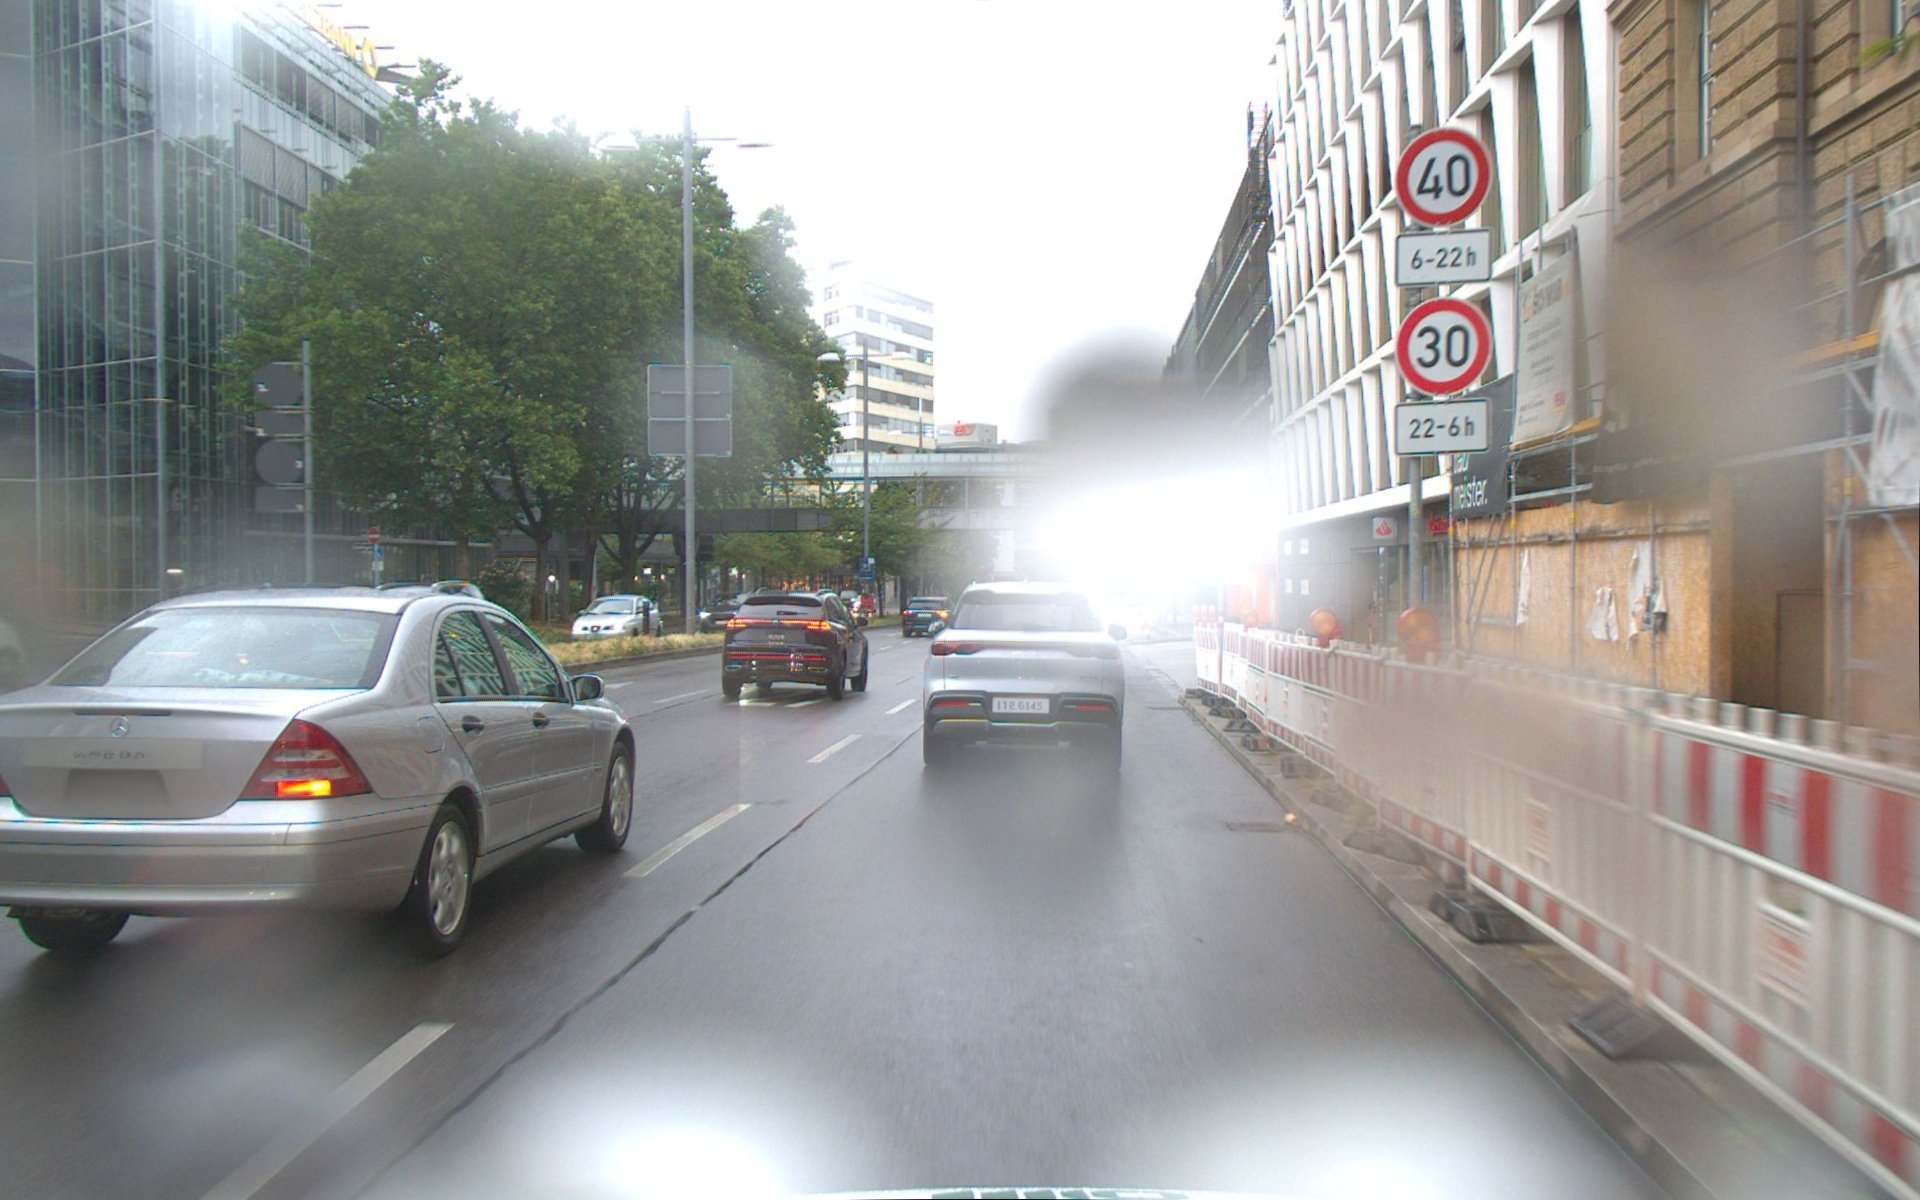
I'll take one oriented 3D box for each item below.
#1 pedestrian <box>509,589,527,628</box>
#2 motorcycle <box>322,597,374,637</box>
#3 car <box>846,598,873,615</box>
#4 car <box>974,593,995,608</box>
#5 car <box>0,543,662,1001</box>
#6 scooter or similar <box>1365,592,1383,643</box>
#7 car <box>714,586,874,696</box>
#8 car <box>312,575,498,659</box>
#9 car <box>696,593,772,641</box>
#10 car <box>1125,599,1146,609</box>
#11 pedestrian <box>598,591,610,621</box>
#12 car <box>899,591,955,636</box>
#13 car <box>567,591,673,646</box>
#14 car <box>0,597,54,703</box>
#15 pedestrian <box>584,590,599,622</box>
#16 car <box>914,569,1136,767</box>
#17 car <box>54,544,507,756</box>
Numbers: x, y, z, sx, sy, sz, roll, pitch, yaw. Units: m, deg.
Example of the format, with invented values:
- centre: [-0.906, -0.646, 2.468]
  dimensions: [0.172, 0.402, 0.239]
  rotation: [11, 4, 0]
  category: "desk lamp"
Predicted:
- centre: [-21.224, 0.412, 79.443]
  dimensions: [0.584, 1.839, 0.760]
  rotation: [0, 0, 4]
  category: "pedestrian"
- centre: [-15.298, 0.418, 41.359]
  dimensions: [0.679, 0.987, 1.397]
  rotation: [0, 0, 5]
  category: "motorcycle"
- centre: [-8.280, 0.514, 136.422]
  dimensions: [1.563, 1.384, 4.119]
  rotation: [0, -1, 6]
  category: "car"
- centre: [2.223, 0.021, 149.884]
  dimensions: [1.618, 1.365, 4.003]
  rotation: [0, 0, 6]
  category: "car"
- centre: [-2.723, 0.611, 7.713]
  dimensions: [1.637, 1.505, 4.362]
  rotation: [1, -1, 3]
  category: "car"
- centre: [10.397, 0.423, 41.584]
  dimensions: [0.403, 1.258, 1.190]
  rotation: [0, 0, 13]
  category: "scooter or similar"
- centre: [-2.350, 0.572, 24.397]
  dimensions: [1.737, 1.482, 4.001]
  rotation: [0, -1, 3]
  category: "car"
- centre: [-10.332, 0.322, 31.150]
  dimensions: [1.664, 1.462, 4.584]
  rotation: [0, -1, 4]
  category: "car"
- centre: [-8.285, 0.613, 61.021]
  dimensions: [1.834, 1.710, 4.683]
  rotation: [0, -1, 4]
  category: "car"
- centre: [27.498, 0.632, 259.422]
  dimensions: [1.553, 1.565, 3.987]
  rotation: [1, 0, 34]
  category: "car"
- centre: [-20.795, 0.337, 96.539]
  dimensions: [0.547, 1.715, 0.511]
  rotation: [0, 0, 3]
  category: "pedestrian"
- centre: [-1.194, 0.487, 61.666]
  dimensions: [1.774, 1.606, 4.002]
  rotation: [0, 0, 3]
  category: "car"
- centre: [-8.970, 0.479, 43.914]
  dimensions: [1.563, 1.384, 4.119]
  rotation: [0, -1, 6]
  category: "car"
- centre: [-14.197, 0.686, 21.779]
  dimensions: [1.690, 1.457, 4.399]
  rotation: [0, -1, 7]
  category: "car"
- centre: [-21.504, 0.353, 96.545]
  dimensions: [0.707, 1.839, 0.618]
  rotation: [0, 0, 4]
  category: "pedestrian"
- centre: [0.676, 0.571, 15.838]
  dimensions: [1.861, 1.650, 4.002]
  rotation: [0, 0, 4]
  category: "car"
- centre: [-5.856, 0.472, 15.042]
  dimensions: [1.833, 1.505, 4.879]
  rotation: [-4, -2, 3]
  category: "car"
